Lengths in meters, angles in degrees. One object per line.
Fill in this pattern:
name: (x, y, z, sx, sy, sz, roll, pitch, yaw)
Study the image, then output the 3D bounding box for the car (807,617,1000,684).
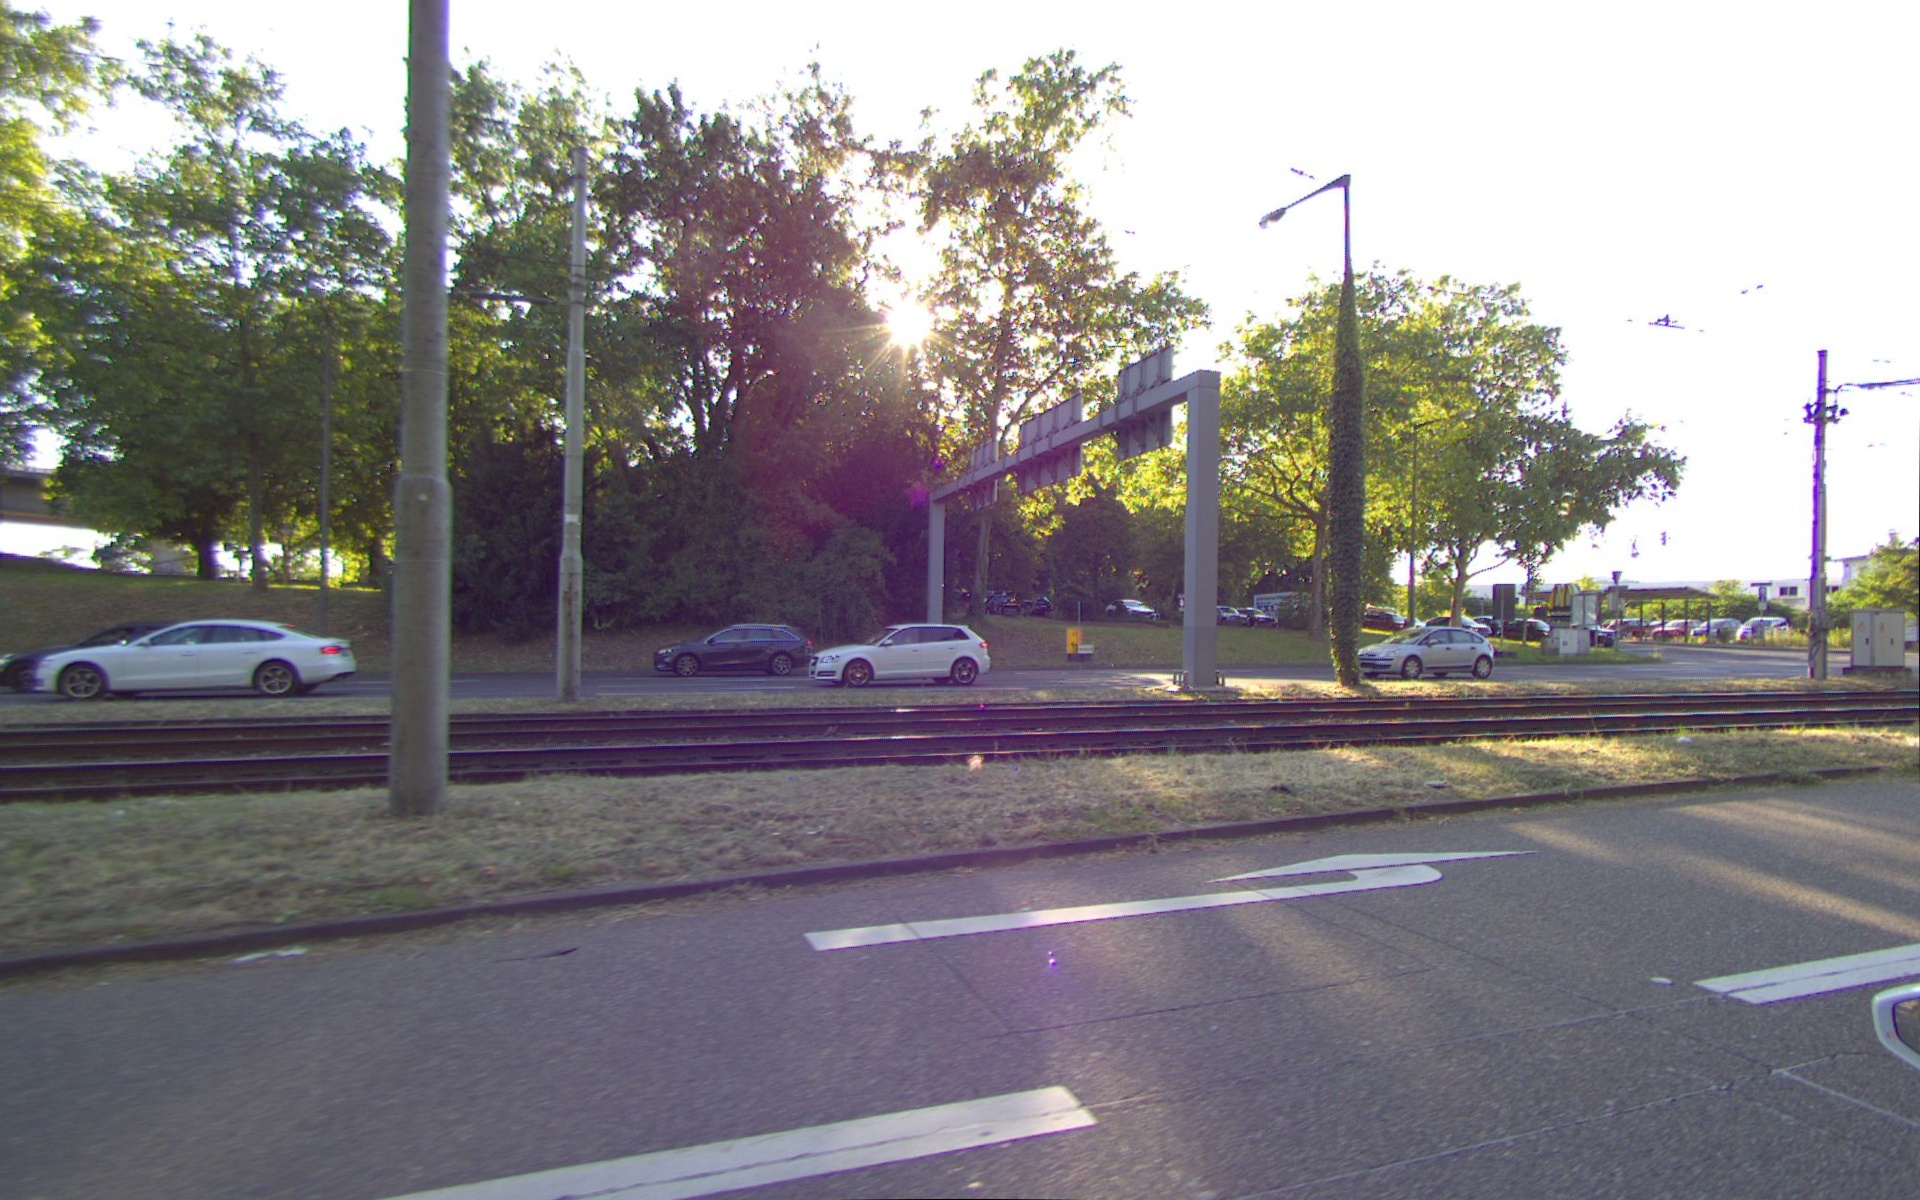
car: (-1.306, 1.150, 23.404, 4.196, 1.434, 1.650, 1, -1, -22)

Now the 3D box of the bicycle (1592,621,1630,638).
bicycle: (46.041, 2.088, 71.030, 2.148, 1.079, 0.668, 1, 0, 11)

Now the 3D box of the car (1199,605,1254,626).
car: (18.506, 1.043, 69.878, 1.649, 1.390, 3.980, 1, 0, -21)

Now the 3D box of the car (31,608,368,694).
car: (-13.642, 0.916, 18.382, 4.530, 1.434, 1.836, 1, -1, -20)

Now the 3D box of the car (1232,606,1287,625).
car: (21.143, 1.098, 71.102, 1.649, 1.277, 3.980, 1, 0, -21)

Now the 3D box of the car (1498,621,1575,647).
car: (35.107, 2.066, 61.301, 1.753, 1.405, 4.057, 1, 0, -13)

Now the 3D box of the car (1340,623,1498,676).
car: (13.201, 1.401, 28.880, 4.194, 1.434, 1.651, 1, -1, -21)

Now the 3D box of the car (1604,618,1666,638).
car: (51.048, 2.110, 76.019, 3.936, 1.461, 1.840, 1, 0, -17)

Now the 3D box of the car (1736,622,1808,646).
car: (53.981, 2.257, 66.784, 3.936, 1.461, 1.840, 1, 0, -17)

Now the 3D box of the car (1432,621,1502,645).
car: (33.380, 2.165, 66.226, 1.756, 1.405, 4.052, 1, 0, -18)

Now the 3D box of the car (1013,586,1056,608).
car: (4.805, -0.195, 64.926, 1.501, 1.350, 3.506, 1, 0, -19)

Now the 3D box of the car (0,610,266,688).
car: (-17.544, 1.021, 21.228, 4.370, 1.501, 1.835, 1, 0, -21)

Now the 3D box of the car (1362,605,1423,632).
car: (31.166, 1.305, 72.459, 1.968, 1.884, 3.986, 1, -1, -17)

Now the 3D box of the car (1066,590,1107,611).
car: (8.390, 0.027, 66.958, 1.556, 1.350, 3.511, 1, 0, -14)

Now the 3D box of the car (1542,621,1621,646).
car: (38.285, 2.056, 61.997, 1.753, 1.405, 4.057, 1, 0, -13)

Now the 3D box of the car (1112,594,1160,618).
car: (11.763, 0.374, 67.461, 1.828, 1.550, 3.992, 1, 0, -11)

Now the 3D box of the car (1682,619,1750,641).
car: (52.456, 2.093, 69.718, 3.936, 1.461, 1.840, 1, 0, -17)

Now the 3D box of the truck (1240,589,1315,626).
truck: (31.139, 0.678, 98.902, 2.691, 3.433, 8.282, 1, 0, -18)

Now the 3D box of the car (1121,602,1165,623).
car: (14.540, 0.998, 80.009, 1.893, 1.550, 3.985, 1, 0, -17)

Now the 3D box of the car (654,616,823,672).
car: (-6.369, 1.253, 28.846, 4.531, 1.501, 1.835, 1, 0, -21)

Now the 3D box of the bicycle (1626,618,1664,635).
bicycle: (46.464, 1.779, 68.164, 2.150, 1.079, 0.668, 1, 0, -3)

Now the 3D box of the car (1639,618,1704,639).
car: (51.672, 2.078, 72.957, 3.936, 1.461, 1.840, 1, 0, -17)
